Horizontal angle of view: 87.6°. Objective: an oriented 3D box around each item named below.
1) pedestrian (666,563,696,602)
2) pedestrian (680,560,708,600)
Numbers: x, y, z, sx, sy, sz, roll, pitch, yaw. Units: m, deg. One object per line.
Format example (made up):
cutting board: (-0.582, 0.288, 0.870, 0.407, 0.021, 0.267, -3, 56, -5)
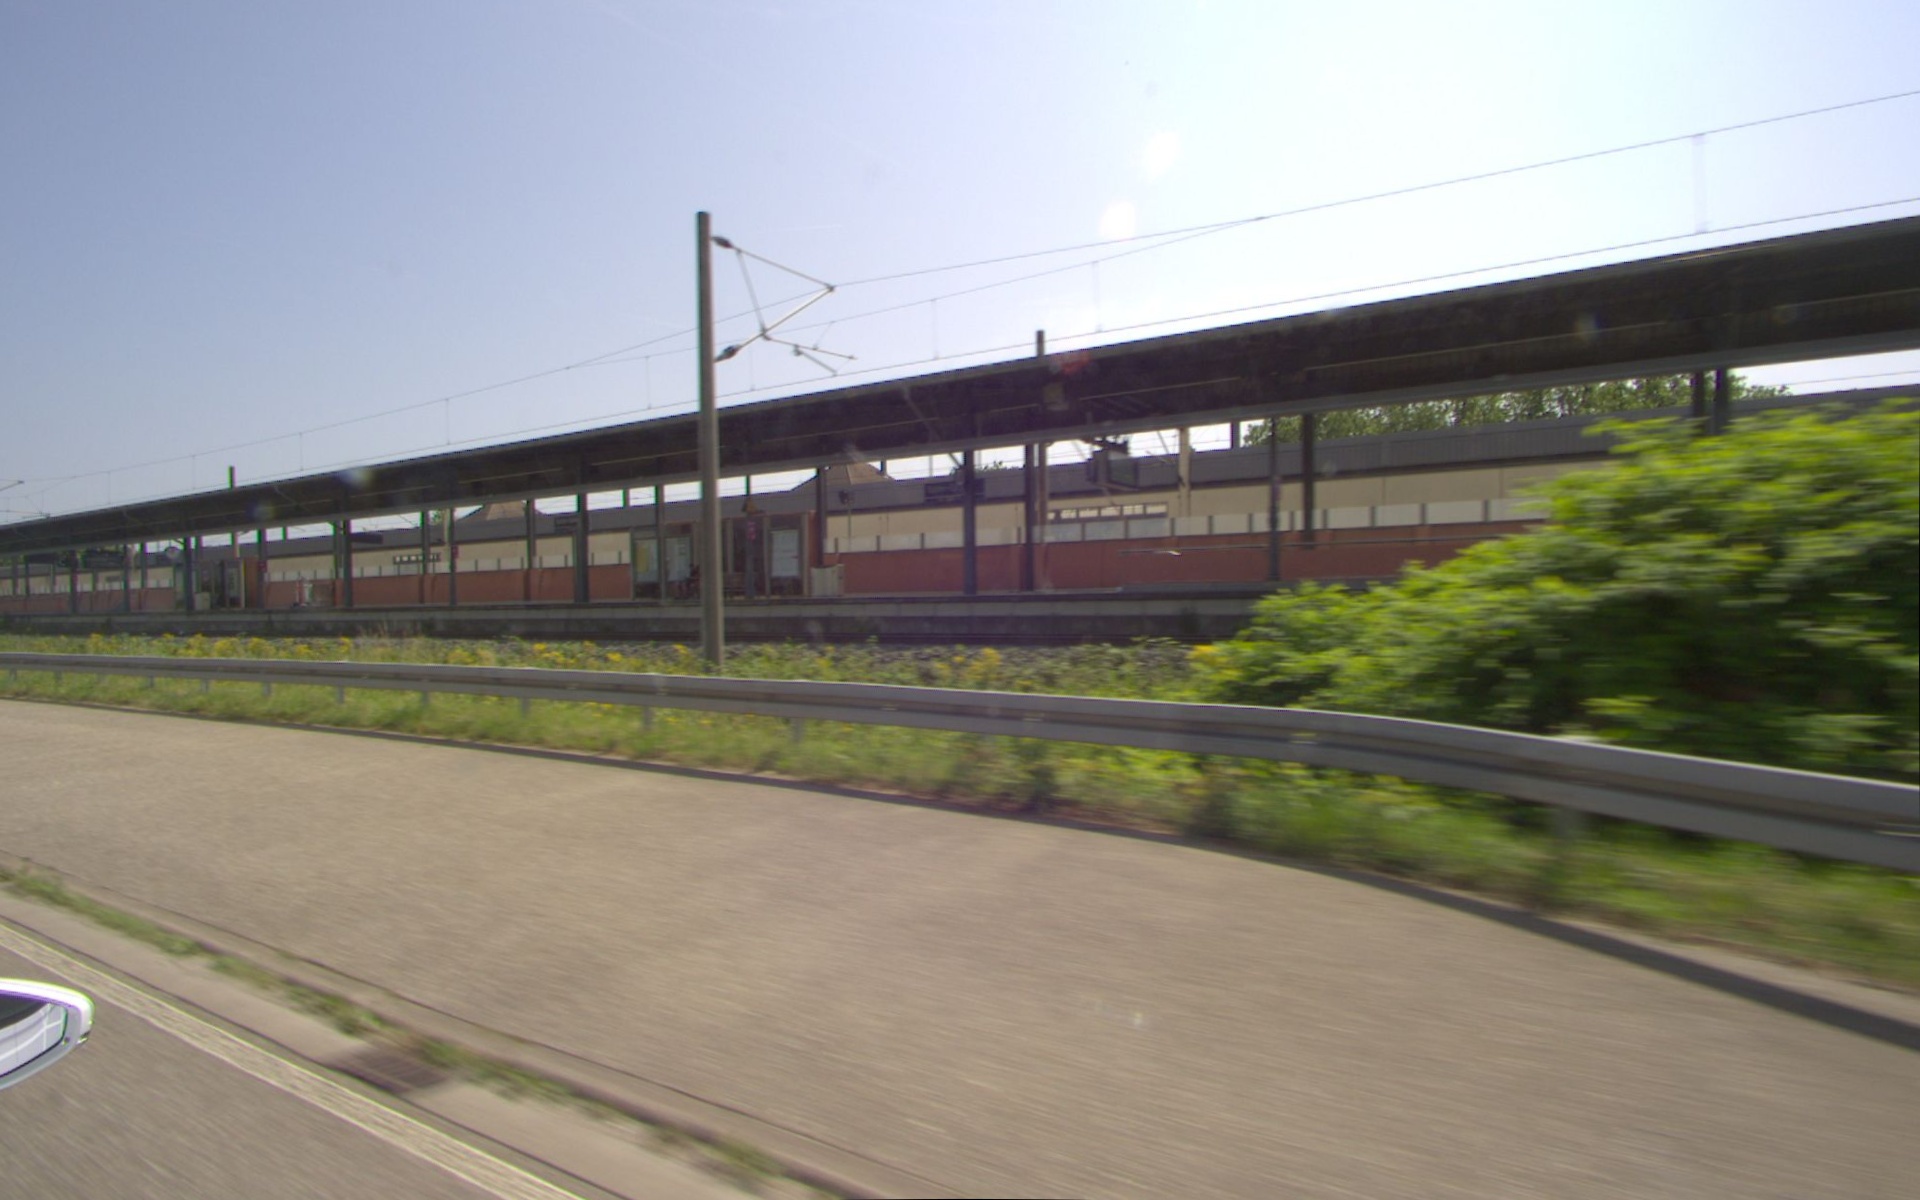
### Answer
pedestrian: (-8.901, -0.550, 31.958, 0.582, 1.210, 0.694, 0, -1, 30)
pedestrian: (-8.406, -0.633, 31.668, 0.523, 1.230, 0.675, 0, -1, 30)
